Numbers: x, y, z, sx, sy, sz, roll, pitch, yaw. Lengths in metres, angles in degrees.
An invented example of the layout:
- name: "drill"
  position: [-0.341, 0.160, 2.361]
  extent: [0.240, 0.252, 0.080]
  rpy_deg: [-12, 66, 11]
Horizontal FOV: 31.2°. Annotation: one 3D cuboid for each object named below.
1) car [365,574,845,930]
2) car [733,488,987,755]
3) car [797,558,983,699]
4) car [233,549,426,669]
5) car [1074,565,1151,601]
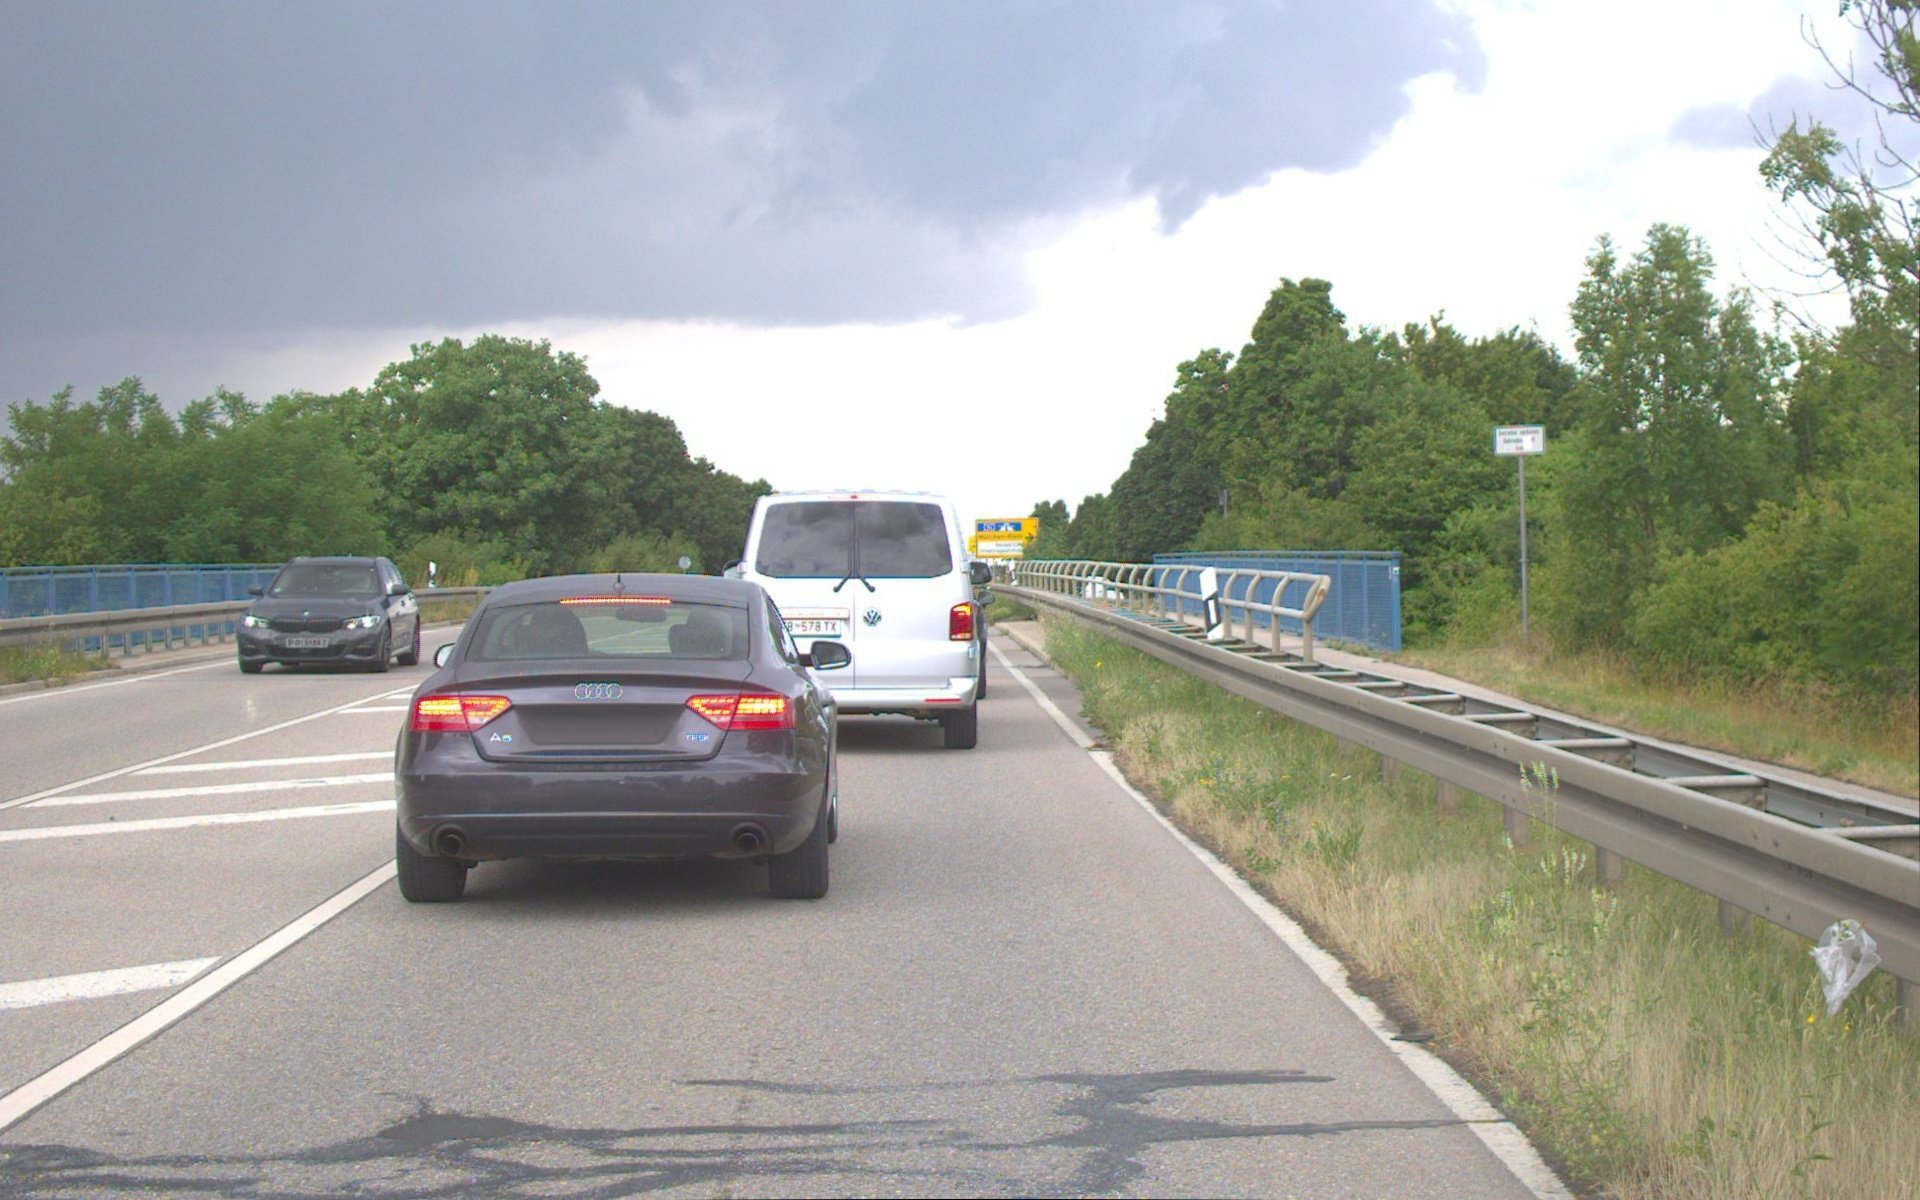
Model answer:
- name: "car"
  position: [-1.476, 0.588, 15.688]
  extent: [1.821, 1.376, 4.072]
  rpy_deg: [-1, 1, -1]
- name: "car"
  position: [-0.765, 0.136, 27.166]
  extent: [1.828, 1.929, 4.000]
  rpy_deg: [-1, 1, -1]
- name: "car"
  position: [-0.679, 0.255, 35.897]
  extent: [1.821, 1.376, 4.072]
  rpy_deg: [0, 1, 0]
- name: "car"
  position: [-8.061, 0.082, 44.294]
  extent: [1.799, 1.445, 4.446]
  rpy_deg: [-1, 1, -2]
- name: "car"
  position: [8.876, -0.995, 199.828]
  extent: [3.993, 2.007, 1.997]
  rpy_deg: [1, 0, 27]
